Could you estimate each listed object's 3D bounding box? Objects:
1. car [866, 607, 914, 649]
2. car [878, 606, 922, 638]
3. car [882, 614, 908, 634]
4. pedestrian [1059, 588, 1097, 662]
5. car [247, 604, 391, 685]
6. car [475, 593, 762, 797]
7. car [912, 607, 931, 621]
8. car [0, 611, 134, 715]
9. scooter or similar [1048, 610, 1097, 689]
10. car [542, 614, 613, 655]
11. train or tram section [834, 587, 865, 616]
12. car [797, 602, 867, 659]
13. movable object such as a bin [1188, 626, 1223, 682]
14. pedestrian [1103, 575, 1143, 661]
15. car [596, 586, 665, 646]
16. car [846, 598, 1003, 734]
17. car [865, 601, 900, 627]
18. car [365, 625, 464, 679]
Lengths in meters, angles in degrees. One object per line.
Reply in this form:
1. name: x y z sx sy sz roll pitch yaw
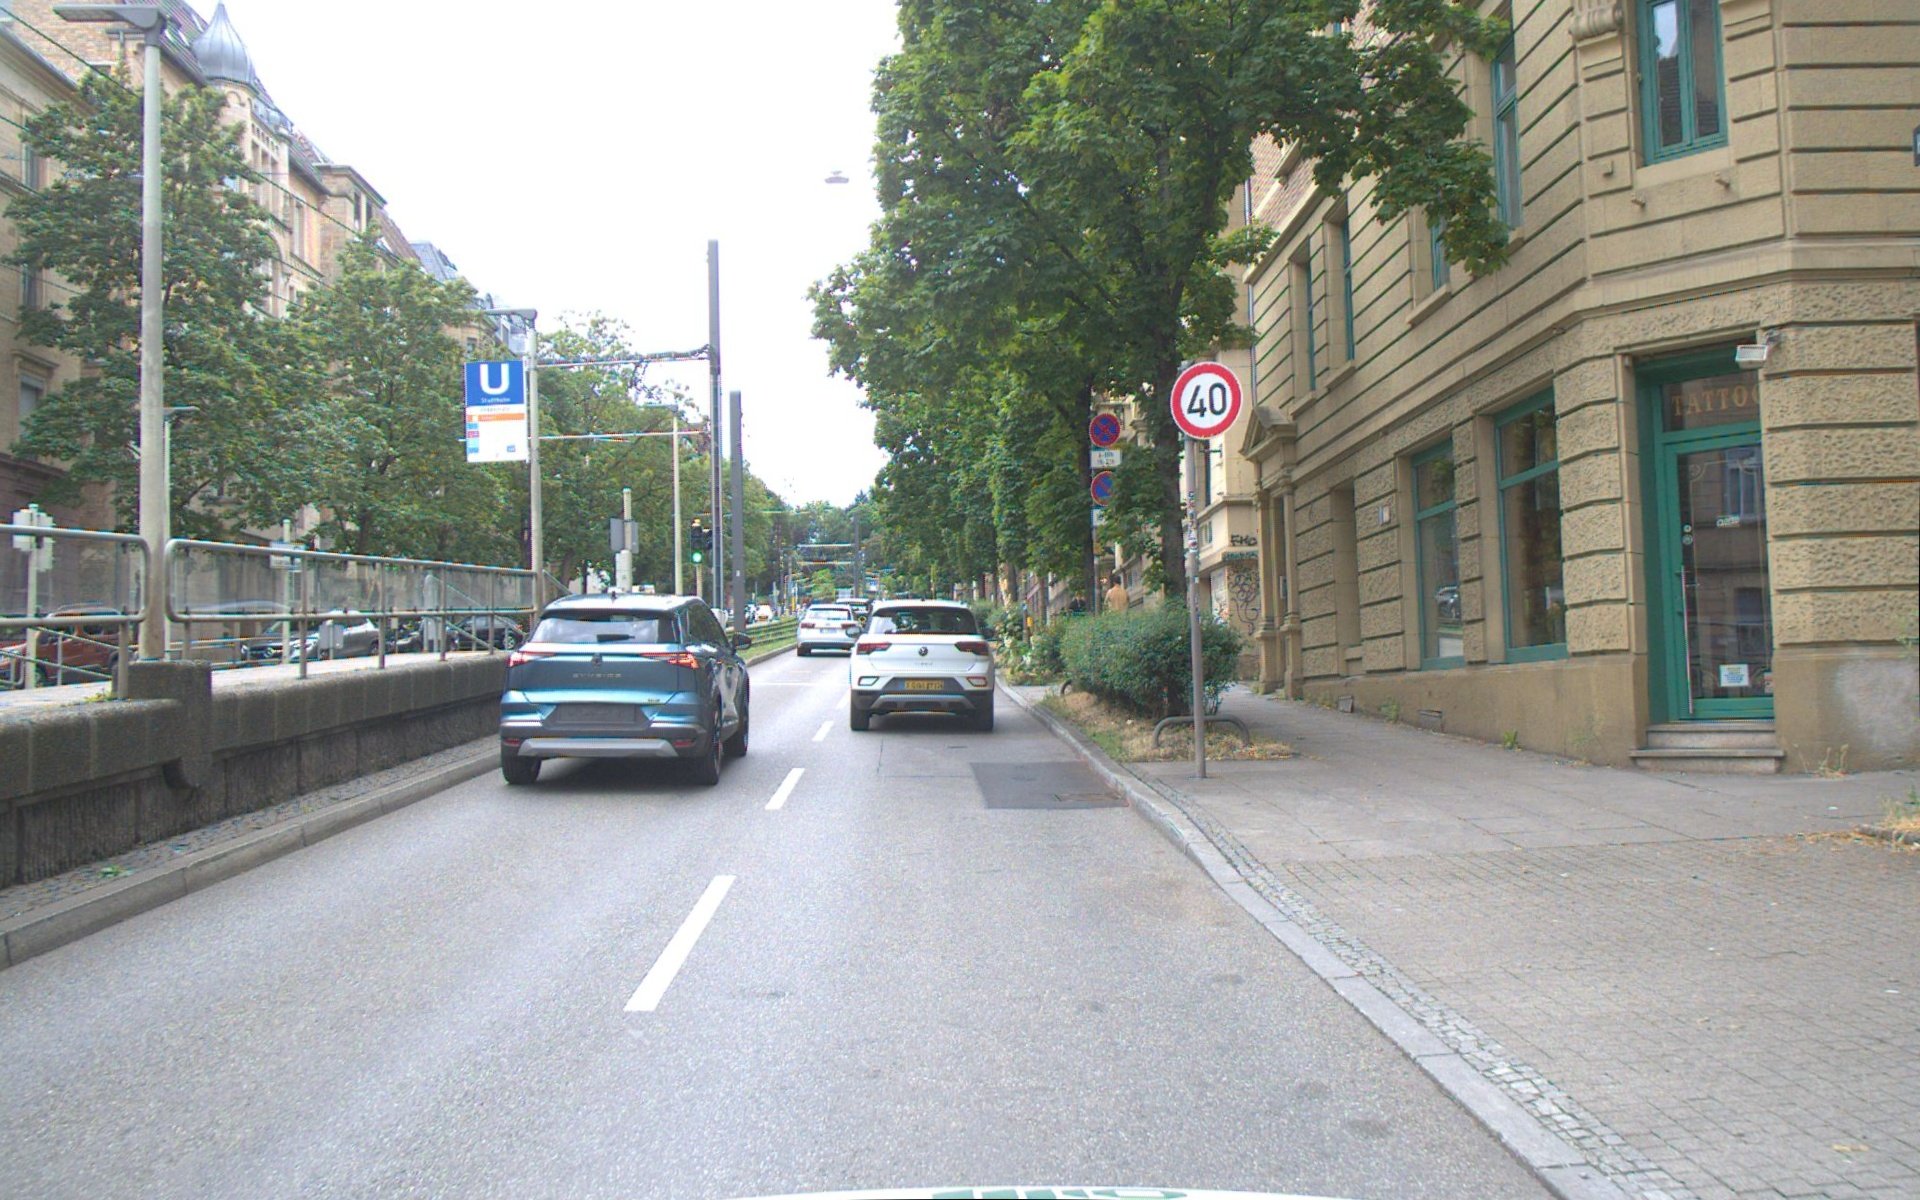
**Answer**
1. car: -2.719 1.101 65.140 1.798 1.574 4.192 0 -1 -1
2. car: -3.130 1.135 85.663 2.028 1.574 4.188 0 -1 -5
3. car: -5.098 1.863 129.674 2.027 1.574 4.191 0 -1 -3
4. pedestrian: 2.642 0.549 37.165 0.672 1.601 1.216 -3 0 -2
5. car: -15.170 1.003 39.399 1.674 1.766 4.575 -2 0 -1
6. car: -2.894 0.762 14.926 1.798 1.574 4.192 0 -1 -1
7. car: -4.594 1.699 196.964 2.028 1.574 4.188 0 -1 -5
8. car: -18.303 1.206 32.777 1.811 1.892 4.137 -2 0 -1
9. scooter or similar: 1.979 0.860 29.199 0.648 1.326 1.383 -3 -1 -2
10. car: -13.964 1.245 60.575 1.543 1.401 3.656 -2 0 3
11. train or tram section: -13.615 0.281 204.490 2.935 3.407 13.435 -1 -1 -1
12. car: -3.701 0.875 48.307 1.798 1.574 4.192 0 -1 -1
13. movable object such as a bin: 4.173 0.914 28.115 0.489 0.935 0.444 -2 0 18
14. pedestrian: 3.666 0.409 37.272 0.672 1.861 1.121 -3 -1 -2
15. car: -16.538 0.796 83.329 2.345 2.746 6.514 -3 0 -3
16. car: -0.498 0.789 21.199 1.799 1.574 4.191 0 -1 -3
17. car: -4.819 0.863 102.116 2.028 1.574 4.189 0 -1 -5
18. car: -16.604 1.541 50.541 1.644 1.473 4.217 -2 0 -1
